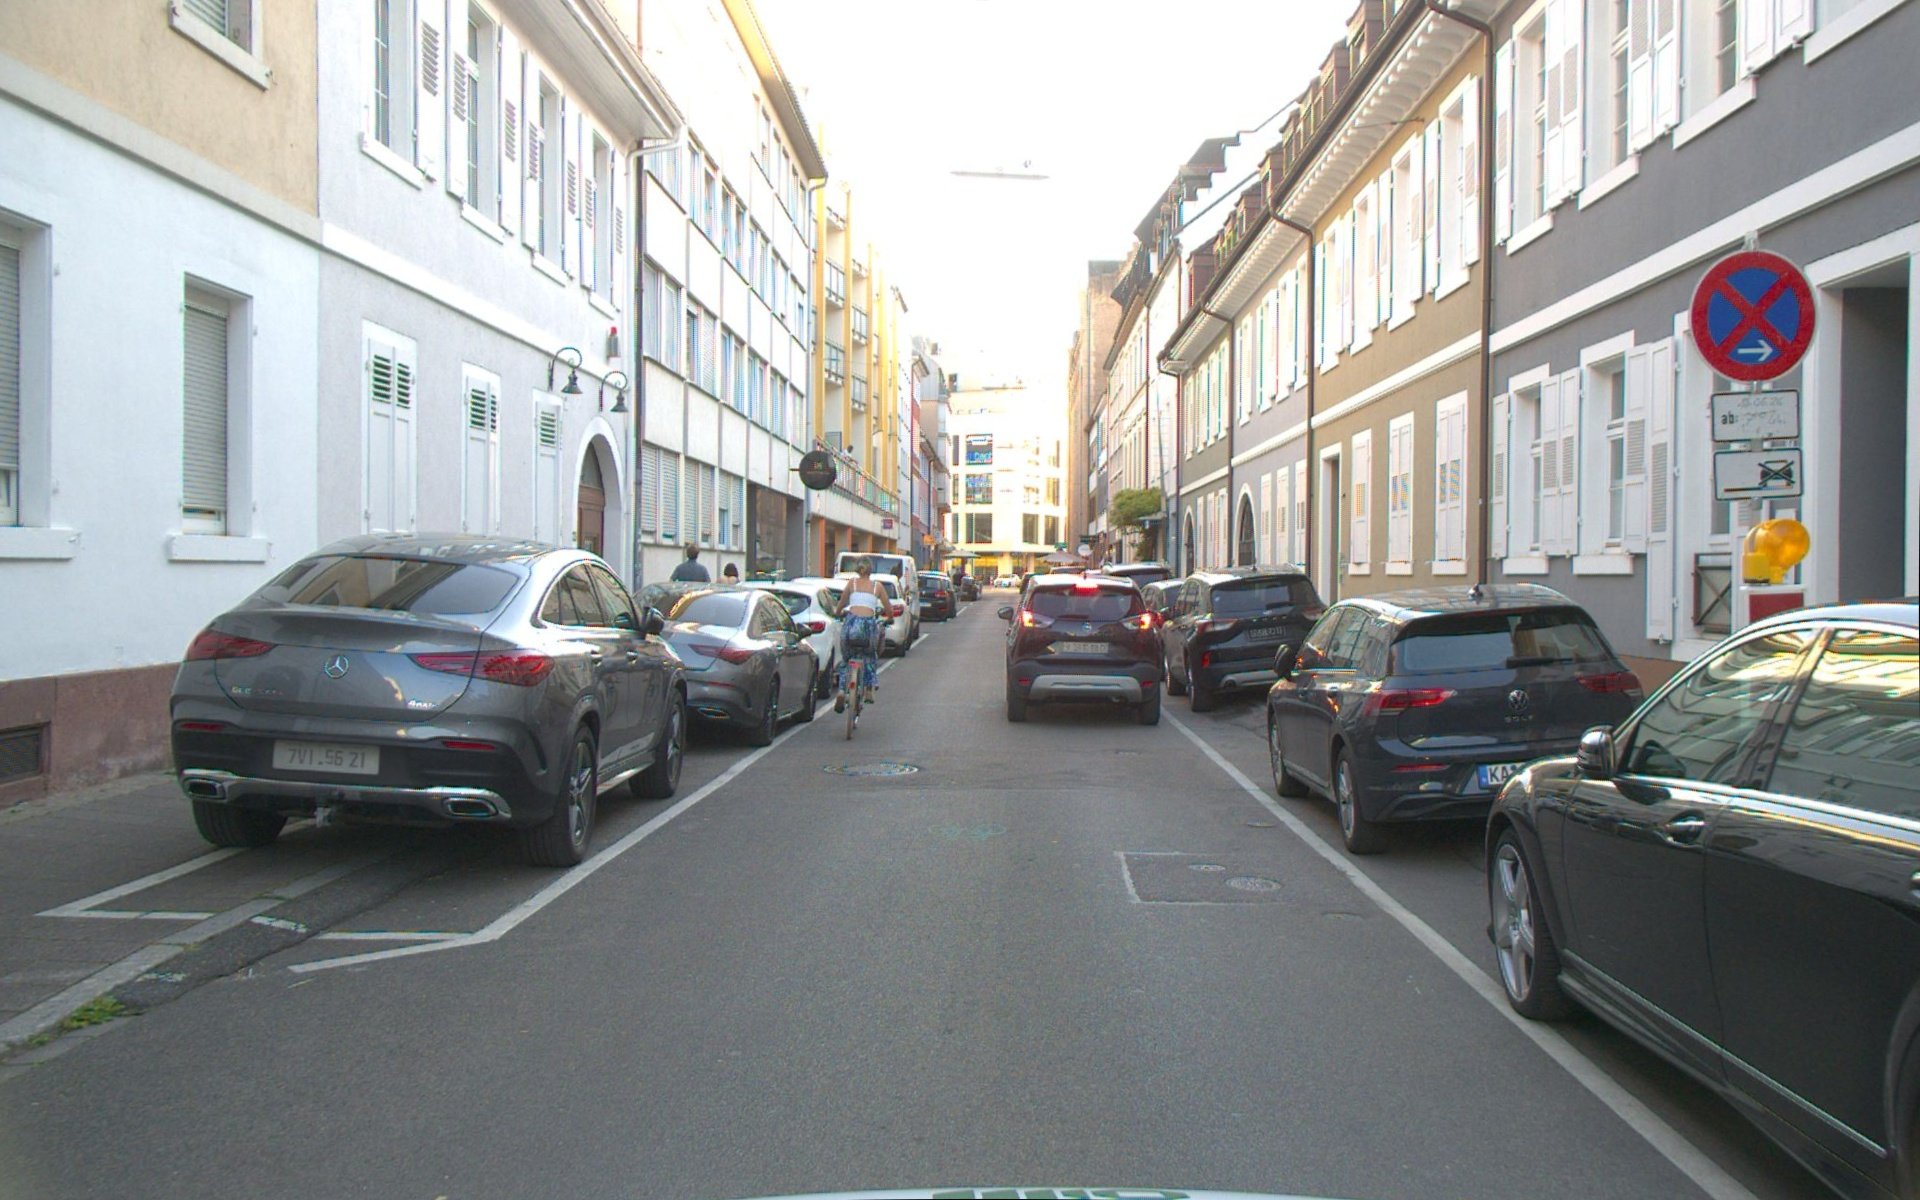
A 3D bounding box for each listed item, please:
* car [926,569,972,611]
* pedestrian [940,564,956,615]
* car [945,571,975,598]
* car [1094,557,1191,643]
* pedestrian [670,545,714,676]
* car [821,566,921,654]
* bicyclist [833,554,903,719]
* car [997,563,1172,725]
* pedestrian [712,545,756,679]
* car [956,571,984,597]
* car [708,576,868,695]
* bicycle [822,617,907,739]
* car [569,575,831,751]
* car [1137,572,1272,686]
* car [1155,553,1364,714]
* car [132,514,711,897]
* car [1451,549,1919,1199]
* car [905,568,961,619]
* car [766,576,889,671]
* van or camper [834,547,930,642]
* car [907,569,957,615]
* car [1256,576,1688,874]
[{"bbox_3d":[-0.411,-0.426,66.312,1.619,1.588,3.607,2,1,2],"label":"car"},{"bbox_3d":[-0.422,-0.378,59.266,0.542,1.782,0.568,1,0,-1],"label":"pedestrian"},{"bbox_3d":[0.015,-0.963,100.697,1.619,1.588,3.607,2,1,2],"label":"car"},{"bbox_3d":[3.605,-0.031,33.183,1.619,1.588,3.607,2,1,2],"label":"car"},{"bbox_3d":[-4.227,0.163,26.097,0.597,2.049,0.450,1,0,-1],"label":"pedestrian"},{"bbox_3d":[-1.716,0.162,32.803,1.619,1.588,3.607,2,1,2],"label":"car"},{"bbox_3d":[-0.916,0.352,16.538,0.608,1.602,0.684,1,1,3],"label":"bicyclist"},{"bbox_3d":[1.357,0.430,19.326,1.782,1.646,4.001,2,1,1],"label":"car"},{"bbox_3d":[-3.524,0.180,25.754,0.597,2.049,0.450,1,0,-1],"label":"pedestrian"},{"bbox_3d":[0.661,-1.045,107.454,1.619,1.588,3.607,2,1,2],"label":"car"},{"bbox_3d":[-2.269,0.420,22.743,1.619,1.435,3.904,2,1,2],"label":"car"},{"bbox_3d":[-0.929,0.747,16.520,0.600,1.101,1.810,1,1,4],"label":"bicycle"},{"bbox_3d":[-2.422,0.514,16.463,1.879,1.459,4.294,2,1,0],"label":"car"},{"bbox_3d":[3.710,0.387,25.589,1.619,1.588,3.607,2,1,2],"label":"car"},{"bbox_3d":[3.639,0.346,20.834,1.878,1.768,4.154,2,1,1],"label":"car"},{"bbox_3d":[-2.869,0.461,10.033,1.957,1.737,4.536,2,1,0],"label":"car"},{"bbox_3d":[2.767,0.657,4.095,1.781,1.556,5.073,-3,1,3],"label":"car"},{"bbox_3d":[-0.875,-0.248,55.320,1.619,1.588,3.607,2,1,2],"label":"car"},{"bbox_3d":[-2.163,0.346,27.834,1.619,1.435,3.607,2,1,2],"label":"car"},{"bbox_3d":[-1.755,-0.158,38.652,1.806,2.048,4.680,2,1,2],"label":"van or camper"},{"bbox_3d":[-1.000,-0.325,60.632,1.619,1.588,3.607,2,1,2],"label":"car"},{"bbox_3d":[3.063,0.631,10.746,1.641,1.512,4.001,2,1,2],"label":"car"}]
